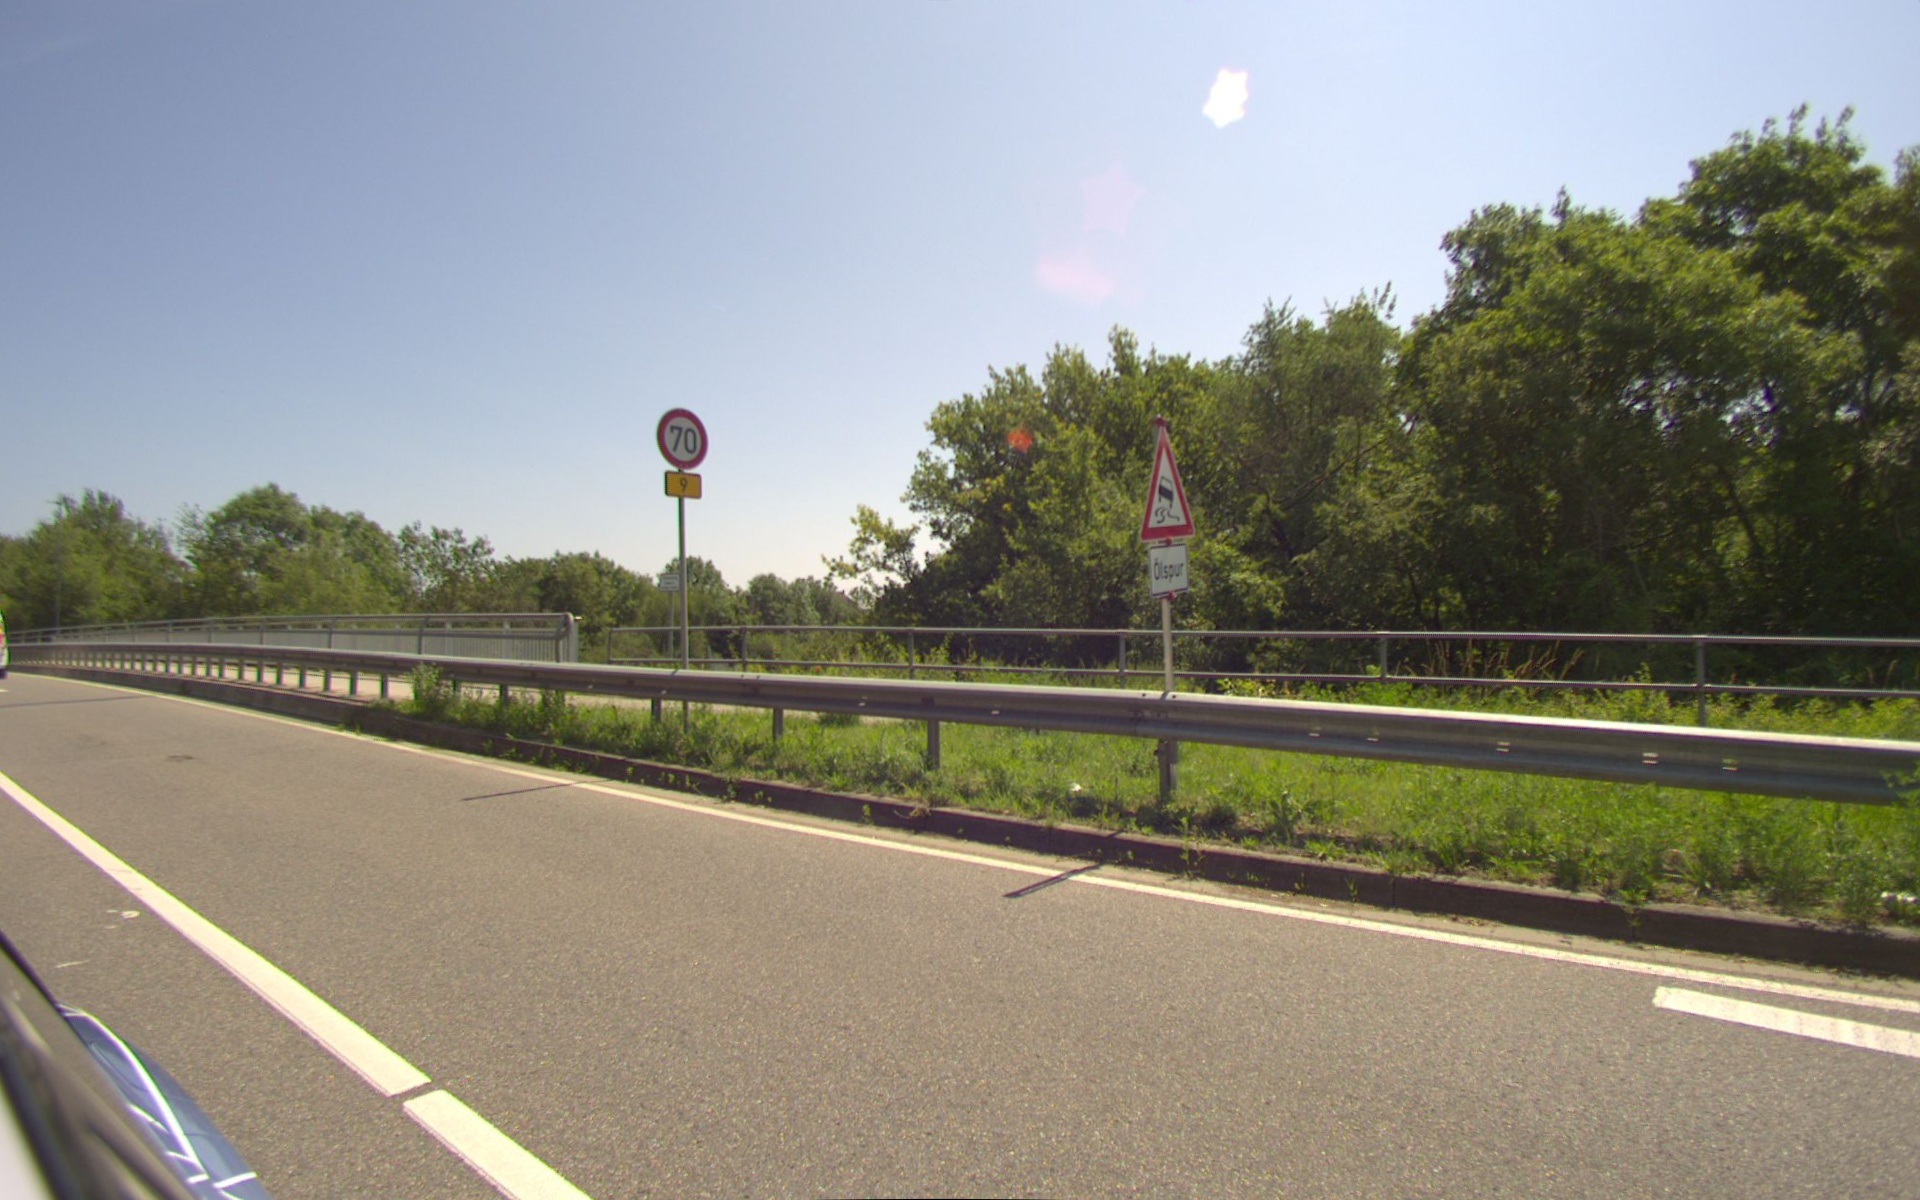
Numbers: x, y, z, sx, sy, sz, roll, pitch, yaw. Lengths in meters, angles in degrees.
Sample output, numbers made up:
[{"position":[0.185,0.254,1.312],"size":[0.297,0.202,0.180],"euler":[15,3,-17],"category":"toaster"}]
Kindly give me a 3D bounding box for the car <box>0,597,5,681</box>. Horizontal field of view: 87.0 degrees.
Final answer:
[{"position":[-29.928,1.177,29.928],"size":[5.179,2.386,1.969],"euler":[-2,-1,41],"category":"car"}]
